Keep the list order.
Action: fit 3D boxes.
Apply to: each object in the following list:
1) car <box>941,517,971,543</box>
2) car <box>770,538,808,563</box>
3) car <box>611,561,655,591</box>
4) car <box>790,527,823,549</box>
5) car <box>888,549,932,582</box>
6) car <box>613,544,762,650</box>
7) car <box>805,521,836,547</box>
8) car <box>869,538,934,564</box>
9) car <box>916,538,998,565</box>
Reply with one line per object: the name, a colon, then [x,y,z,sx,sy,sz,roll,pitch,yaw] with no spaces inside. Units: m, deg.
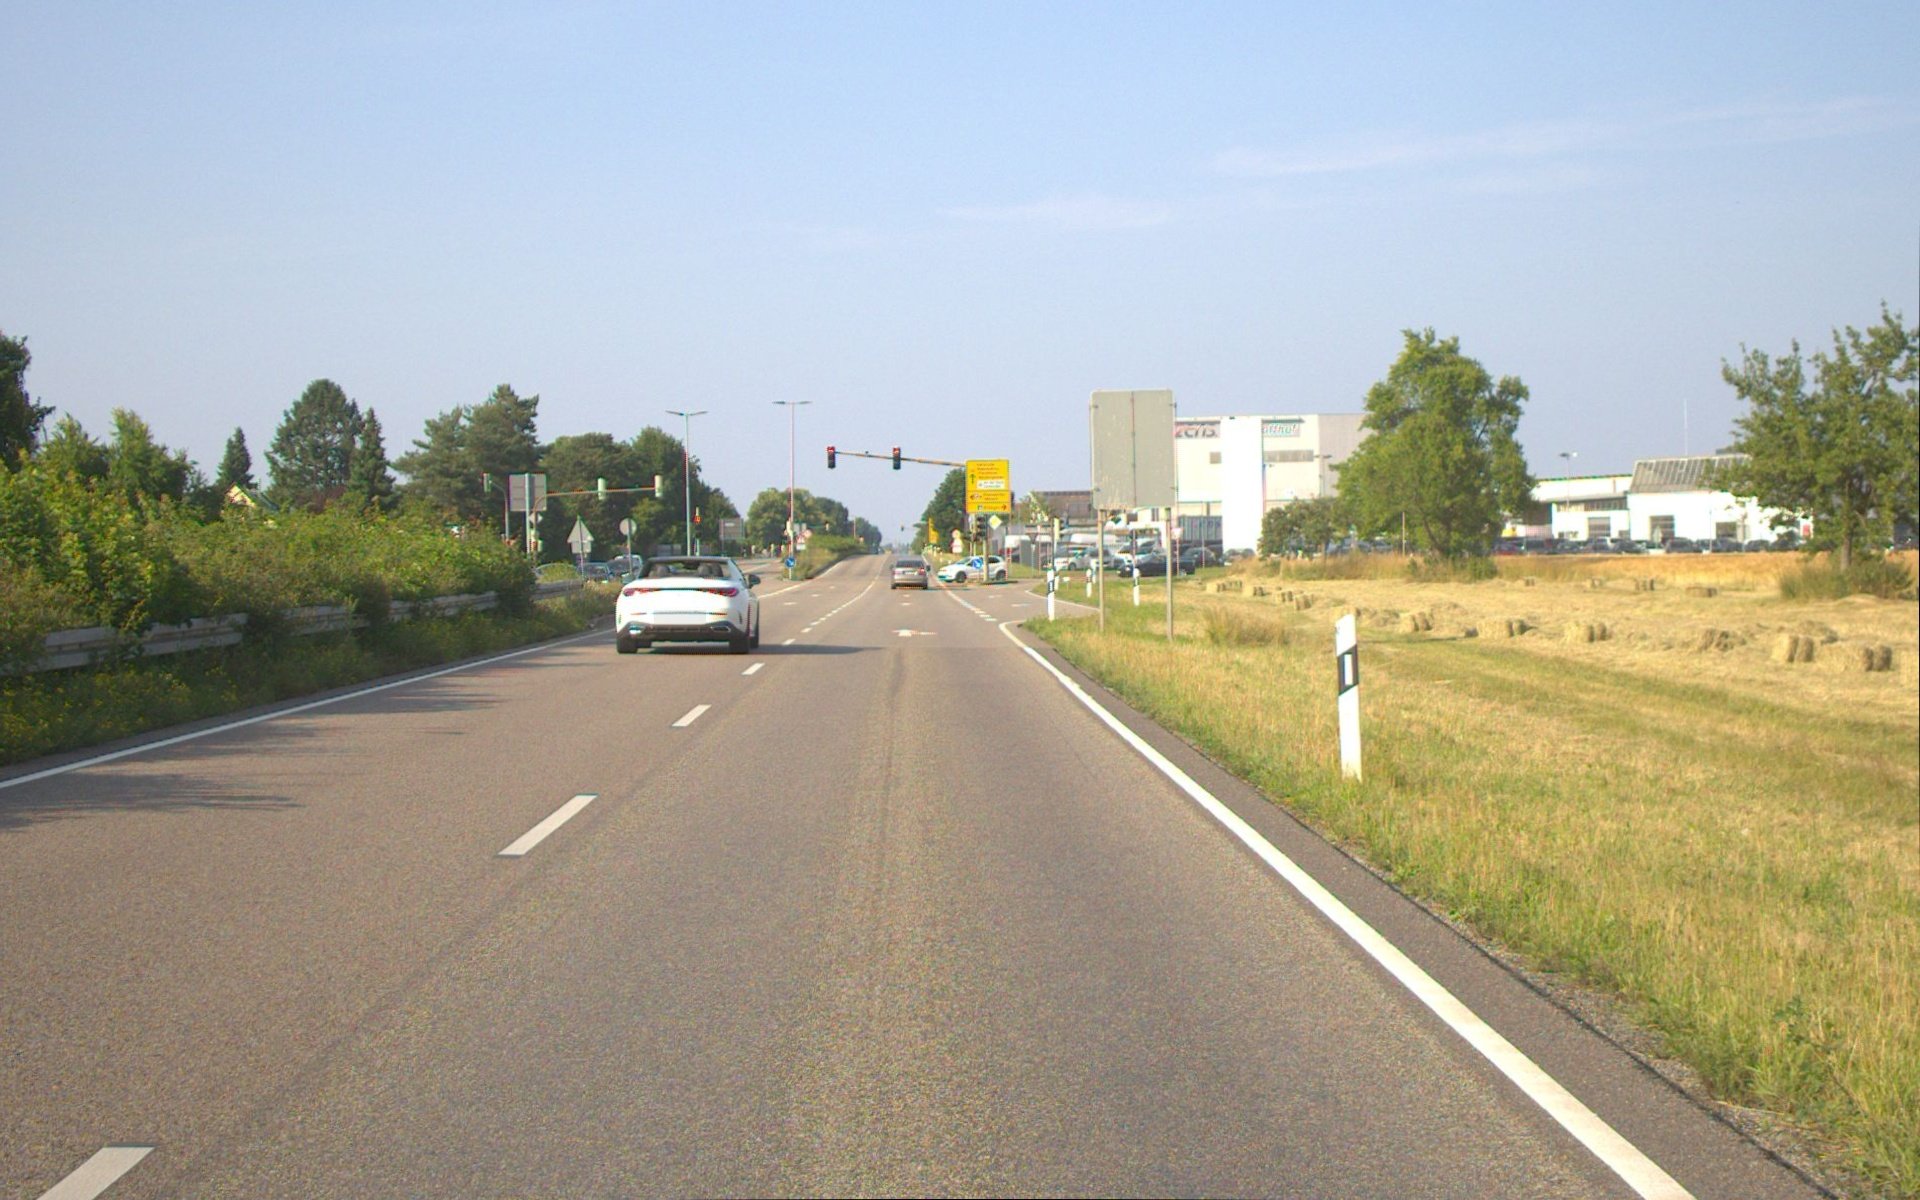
car: [-0.234,-4.767,234.998,1.993,1.751,4.000,1,1,0]
car: [-9.763,-2.833,196.138,1.947,1.403,4.000,0,1,0]
car: [-15.624,-1.158,164.371,1.729,1.403,4.000,0,1,0]
car: [-9.877,-4.006,220.987,1.947,1.403,4.000,0,1,0]
car: [-2.332,-1.597,160.358,1.993,1.481,4.000,0,1,-2]
car: [-3.844,-0.080,49.053,1.909,1.417,4.000,0,1,-2]
car: [-9.584,-4.529,235.575,1.947,1.766,4.000,0,1,0]
car: [-3.188,-2.710,188.507,1.950,1.403,3.994,1,1,27]
car: [-0.184,-2.608,185.094,3.986,1.403,1.955,0,1,-20]
